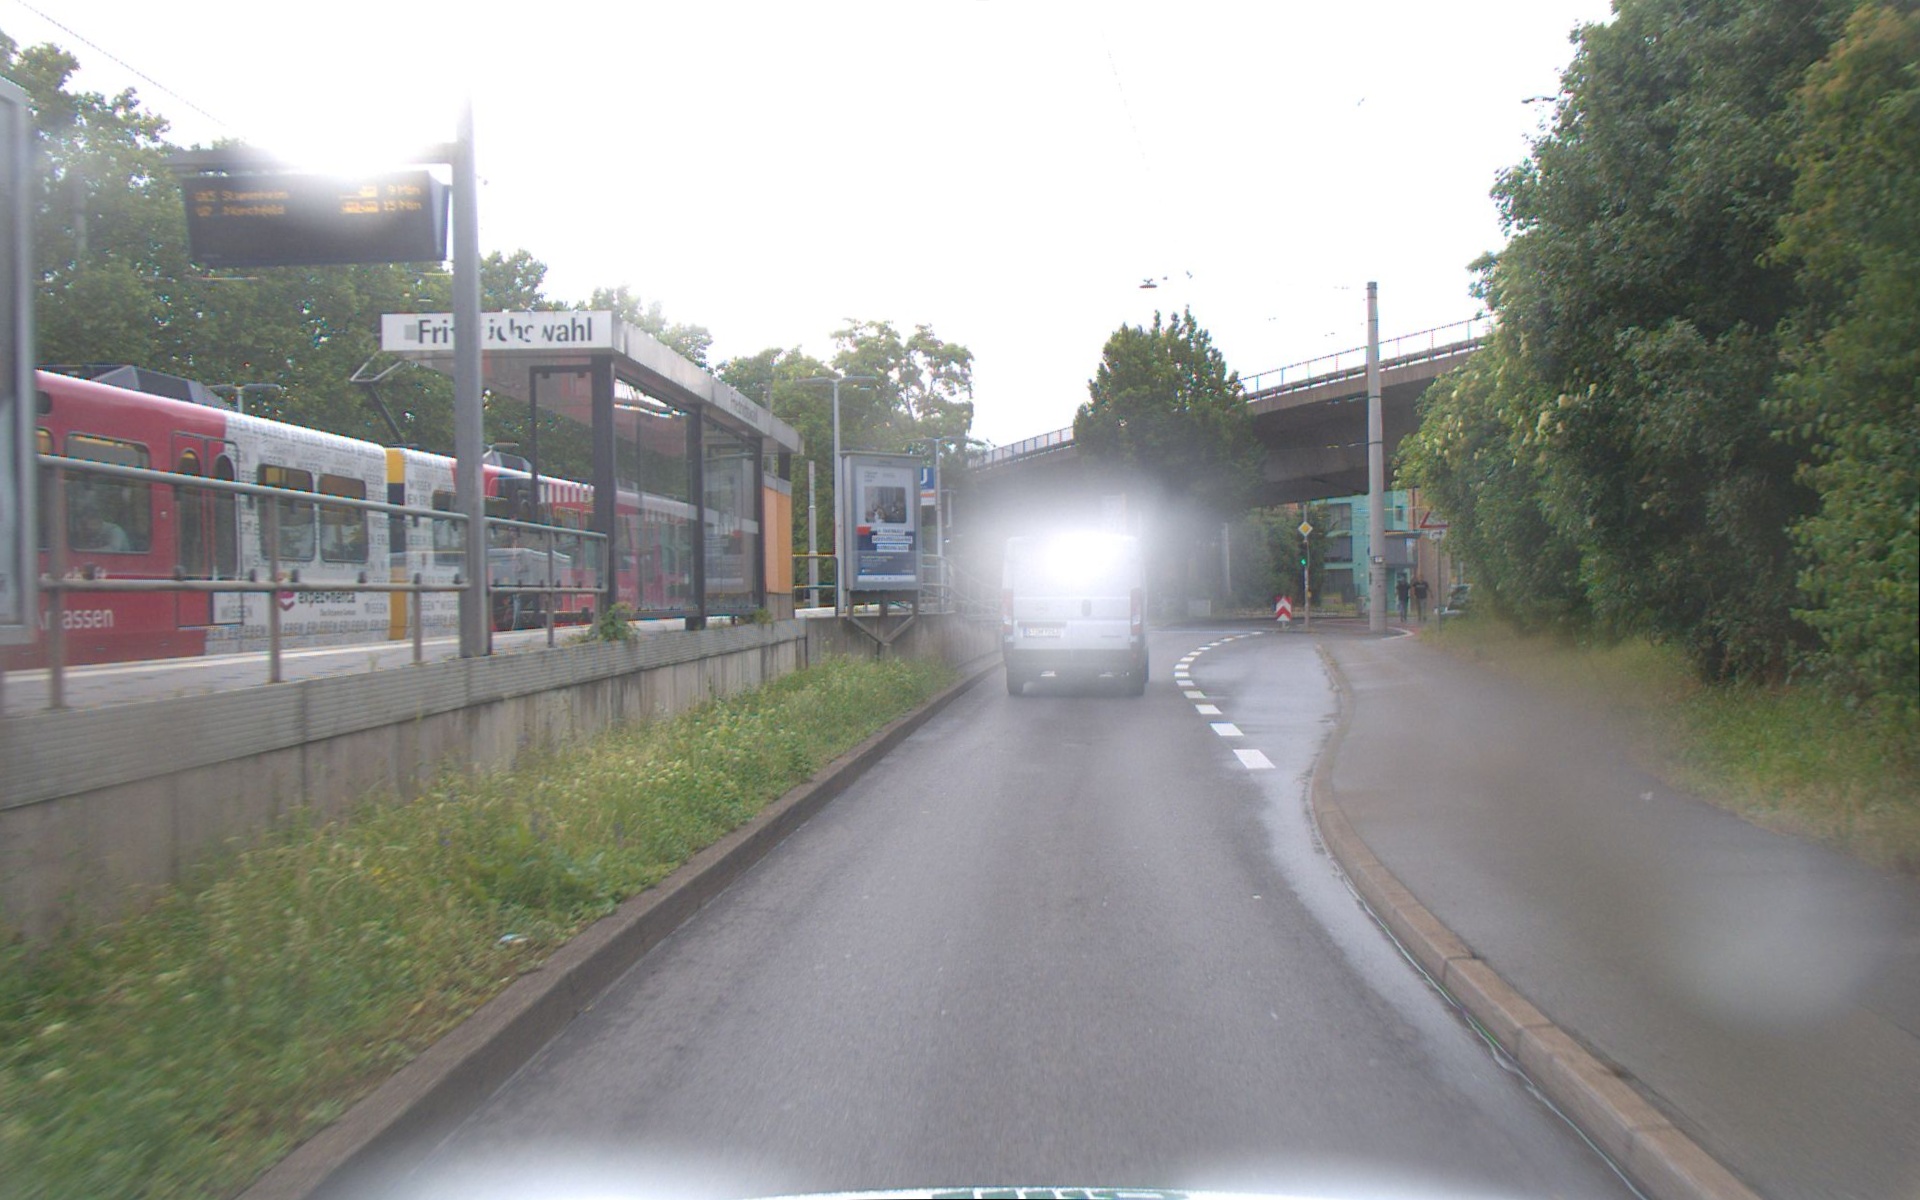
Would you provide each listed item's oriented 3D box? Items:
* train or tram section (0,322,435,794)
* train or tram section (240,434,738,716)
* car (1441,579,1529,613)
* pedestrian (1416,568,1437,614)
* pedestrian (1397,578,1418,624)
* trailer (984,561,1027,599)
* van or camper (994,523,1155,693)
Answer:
[{"bbox_3d":[-9.621,-0.386,14.513,2.808,4.040,19.337,1,0,3],"label":"train or tram section"},{"bbox_3d":[-8.171,-0.310,33.713,2.807,4.030,19.342,1,0,5],"label":"train or tram section"},{"bbox_3d":[24.470,-0.165,77.093,3.675,1.548,1.789,0,0,-24],"label":"car"},{"bbox_3d":[18.751,-0.355,66.518,0.584,1.854,0.910,1,-1,3],"label":"pedestrian"},{"bbox_3d":[18.063,0.033,66.764,0.612,1.840,0.836,1,-1,1],"label":"pedestrian"},{"bbox_3d":[3.420,-1.468,125.134,1.964,2.773,4.100,1,-1,-19],"label":"trailer"},{"bbox_3d":[1.829,0.123,25.107,2.152,2.292,4.687,1,0,6],"label":"van or camper"}]
